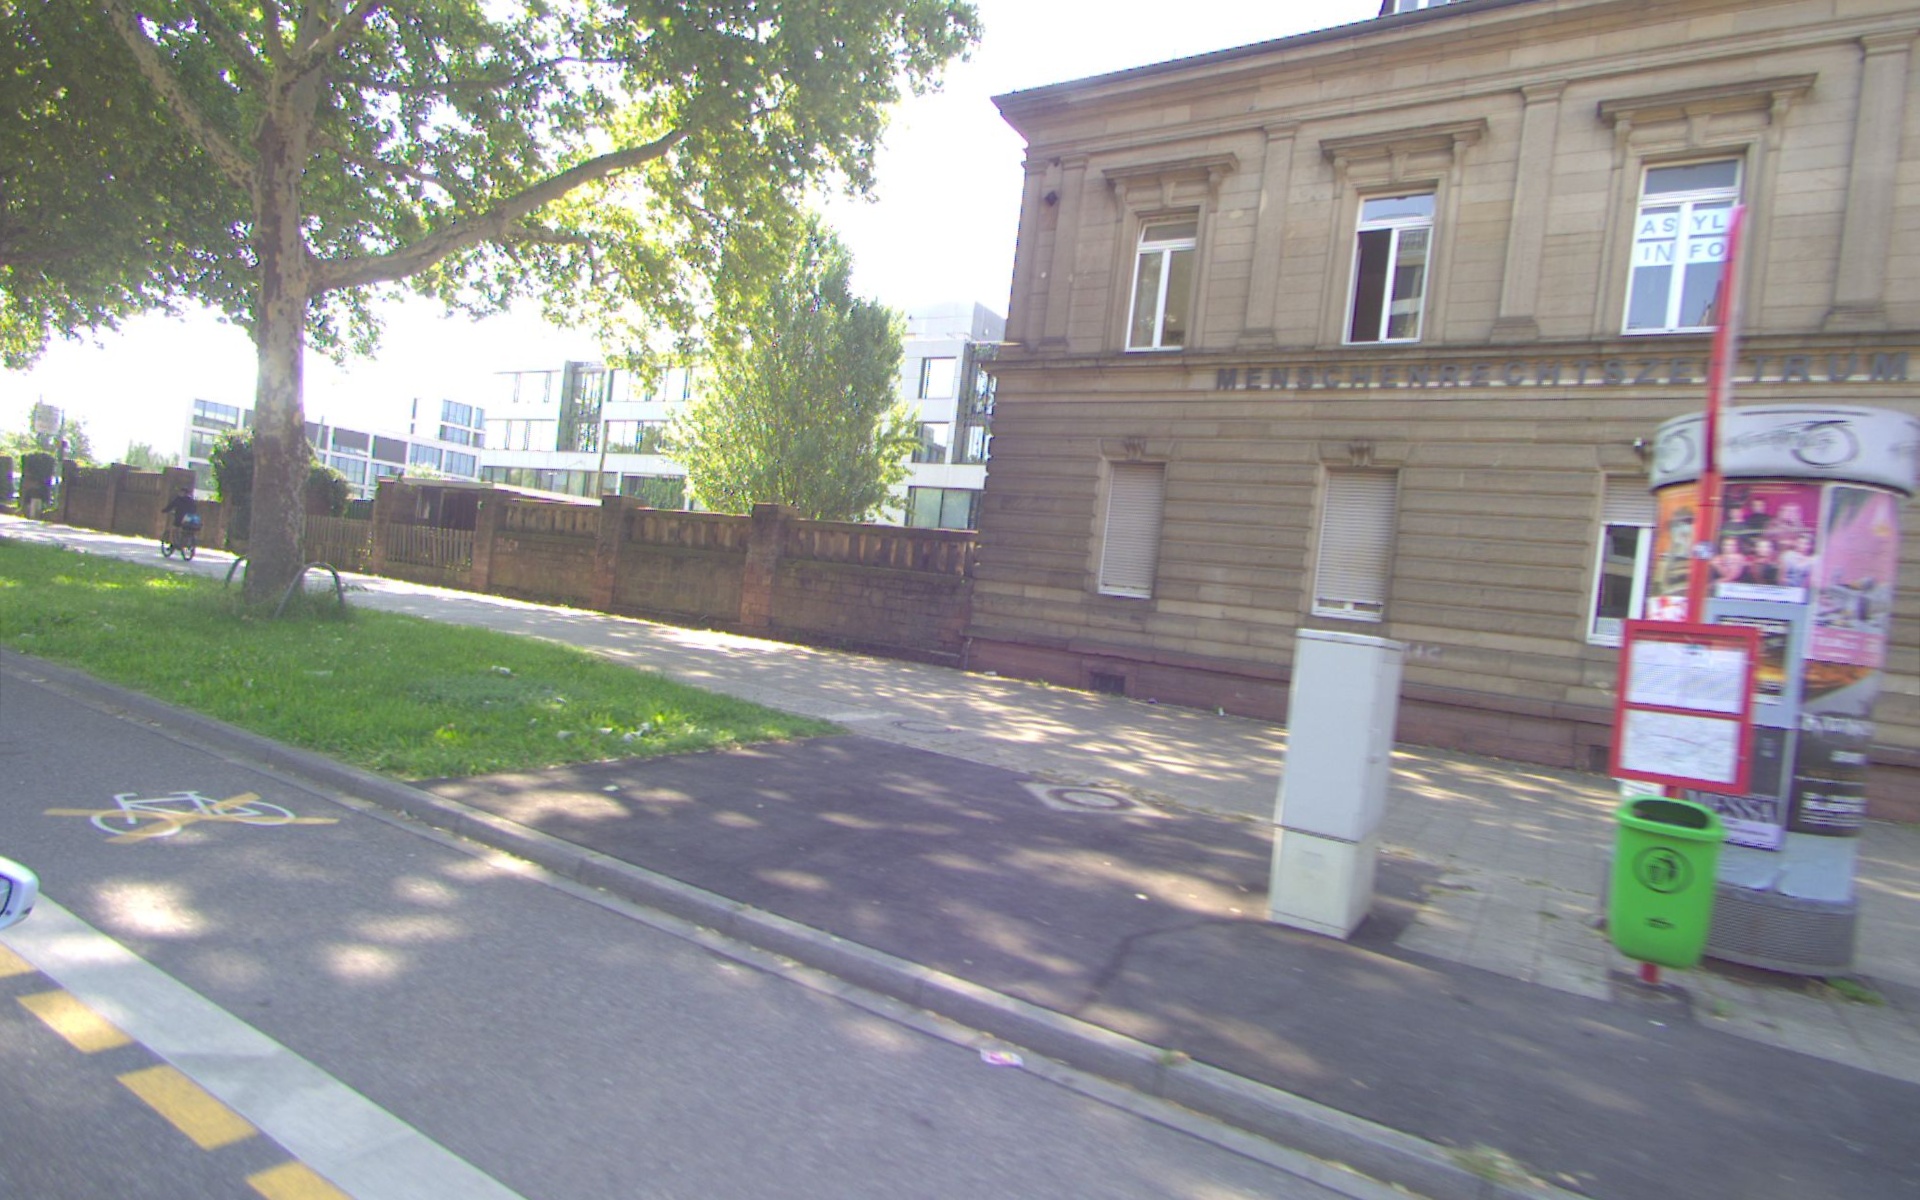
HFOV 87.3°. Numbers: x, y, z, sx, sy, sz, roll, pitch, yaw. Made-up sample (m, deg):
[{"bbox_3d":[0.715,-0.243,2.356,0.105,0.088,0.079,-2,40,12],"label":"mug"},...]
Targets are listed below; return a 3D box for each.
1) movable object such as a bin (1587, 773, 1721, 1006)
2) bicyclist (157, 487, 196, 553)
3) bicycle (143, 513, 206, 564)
[{"bbox_3d":[3.145,1.296,4.583,0.379,0.927,0.271,7,1,29],"label":"movable object such as a bin"},{"bbox_3d":[-19.523,-1.998,25.075,0.586,1.559,0.469,7,1,29],"label":"bicyclist"},{"bbox_3d":[-19.585,-1.538,25.081,1.825,1.102,0.492,7,1,29],"label":"bicycle"}]
